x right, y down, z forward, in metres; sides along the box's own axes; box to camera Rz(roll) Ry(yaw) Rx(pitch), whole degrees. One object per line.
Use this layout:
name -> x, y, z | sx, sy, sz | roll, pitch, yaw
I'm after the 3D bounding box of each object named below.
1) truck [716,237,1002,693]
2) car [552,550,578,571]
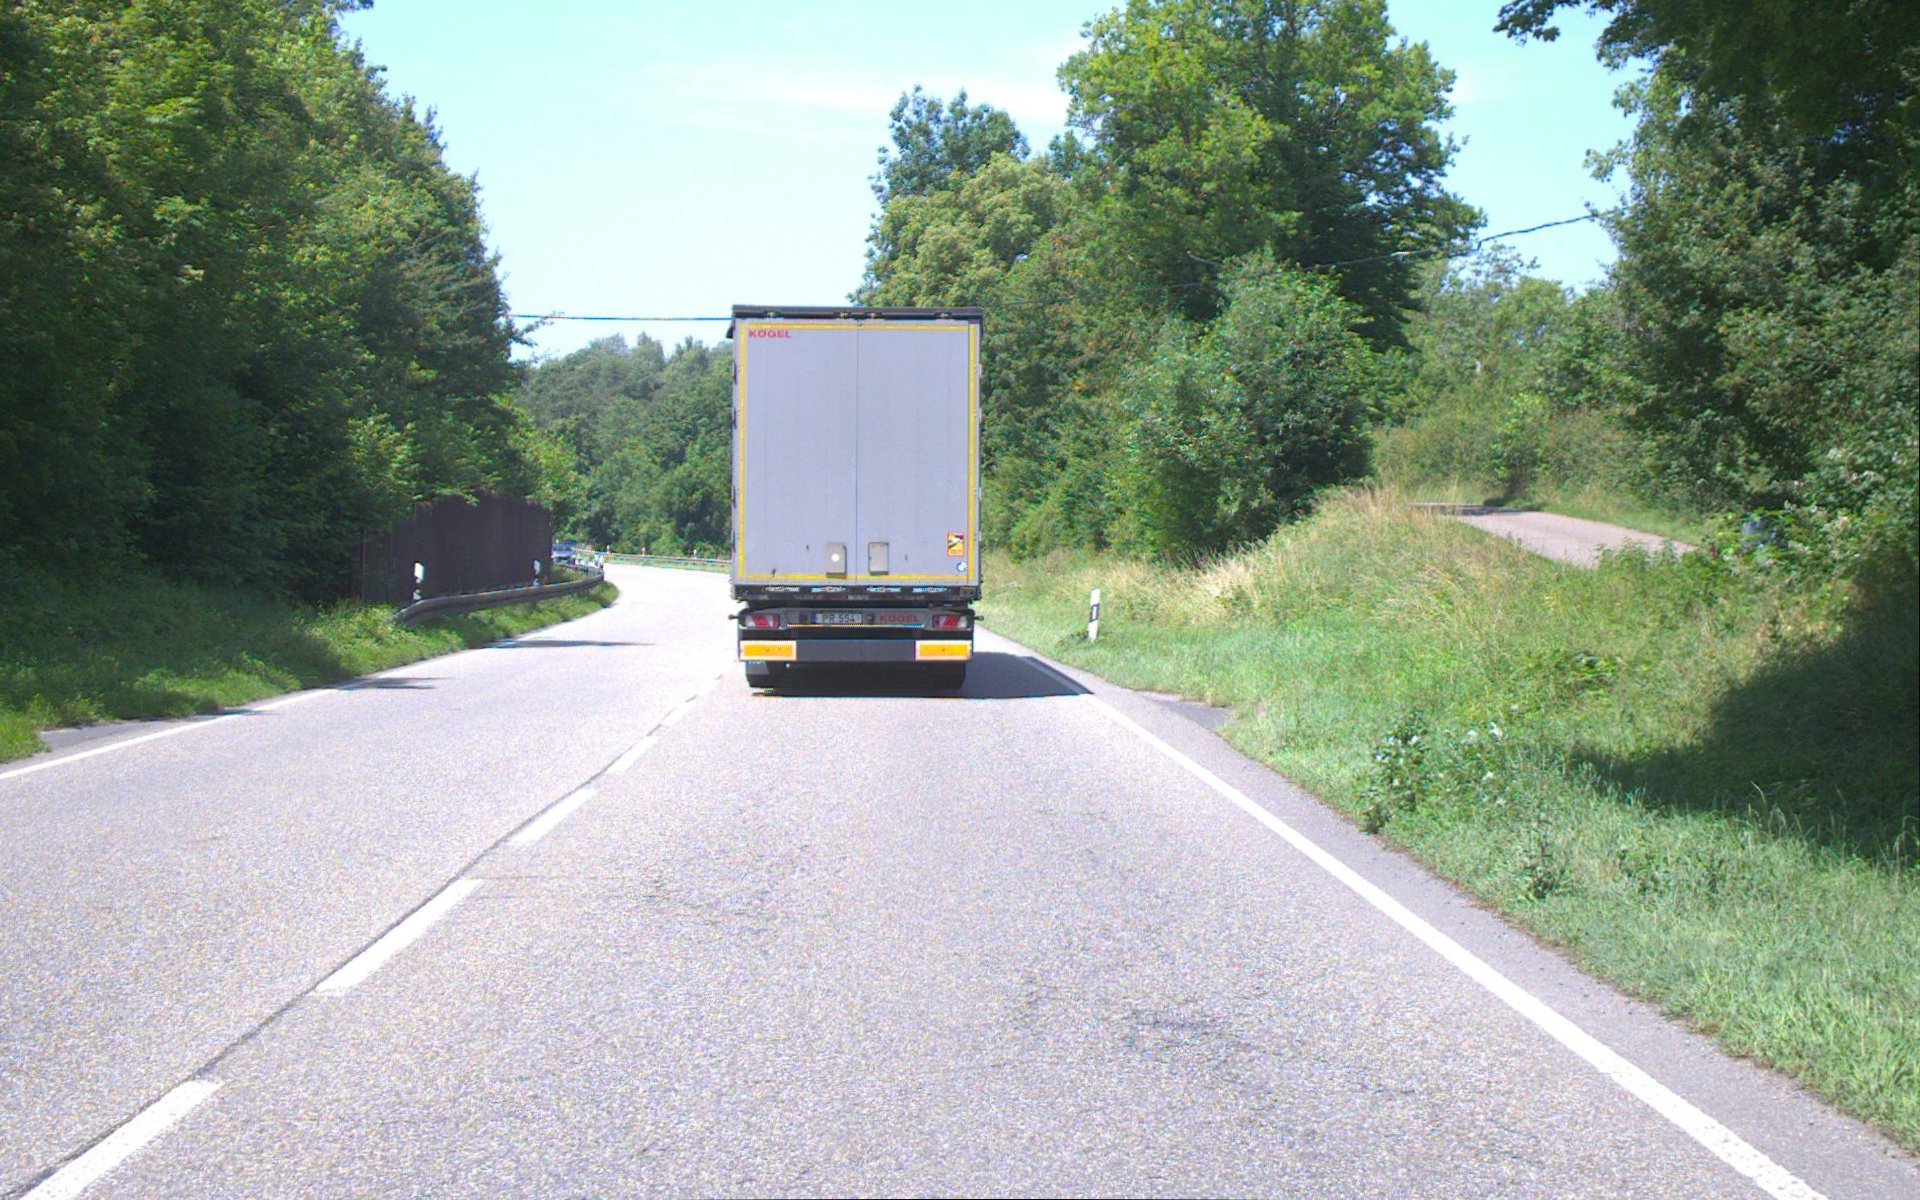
truck -> -0.981, -1.371, 38.138 | 2.822, 4.588, 6.665 | 1, 0, 1
car -> -27.791, -2.766, 241.738 | 1.616, 1.486, 3.618 | 0, 1, -10
